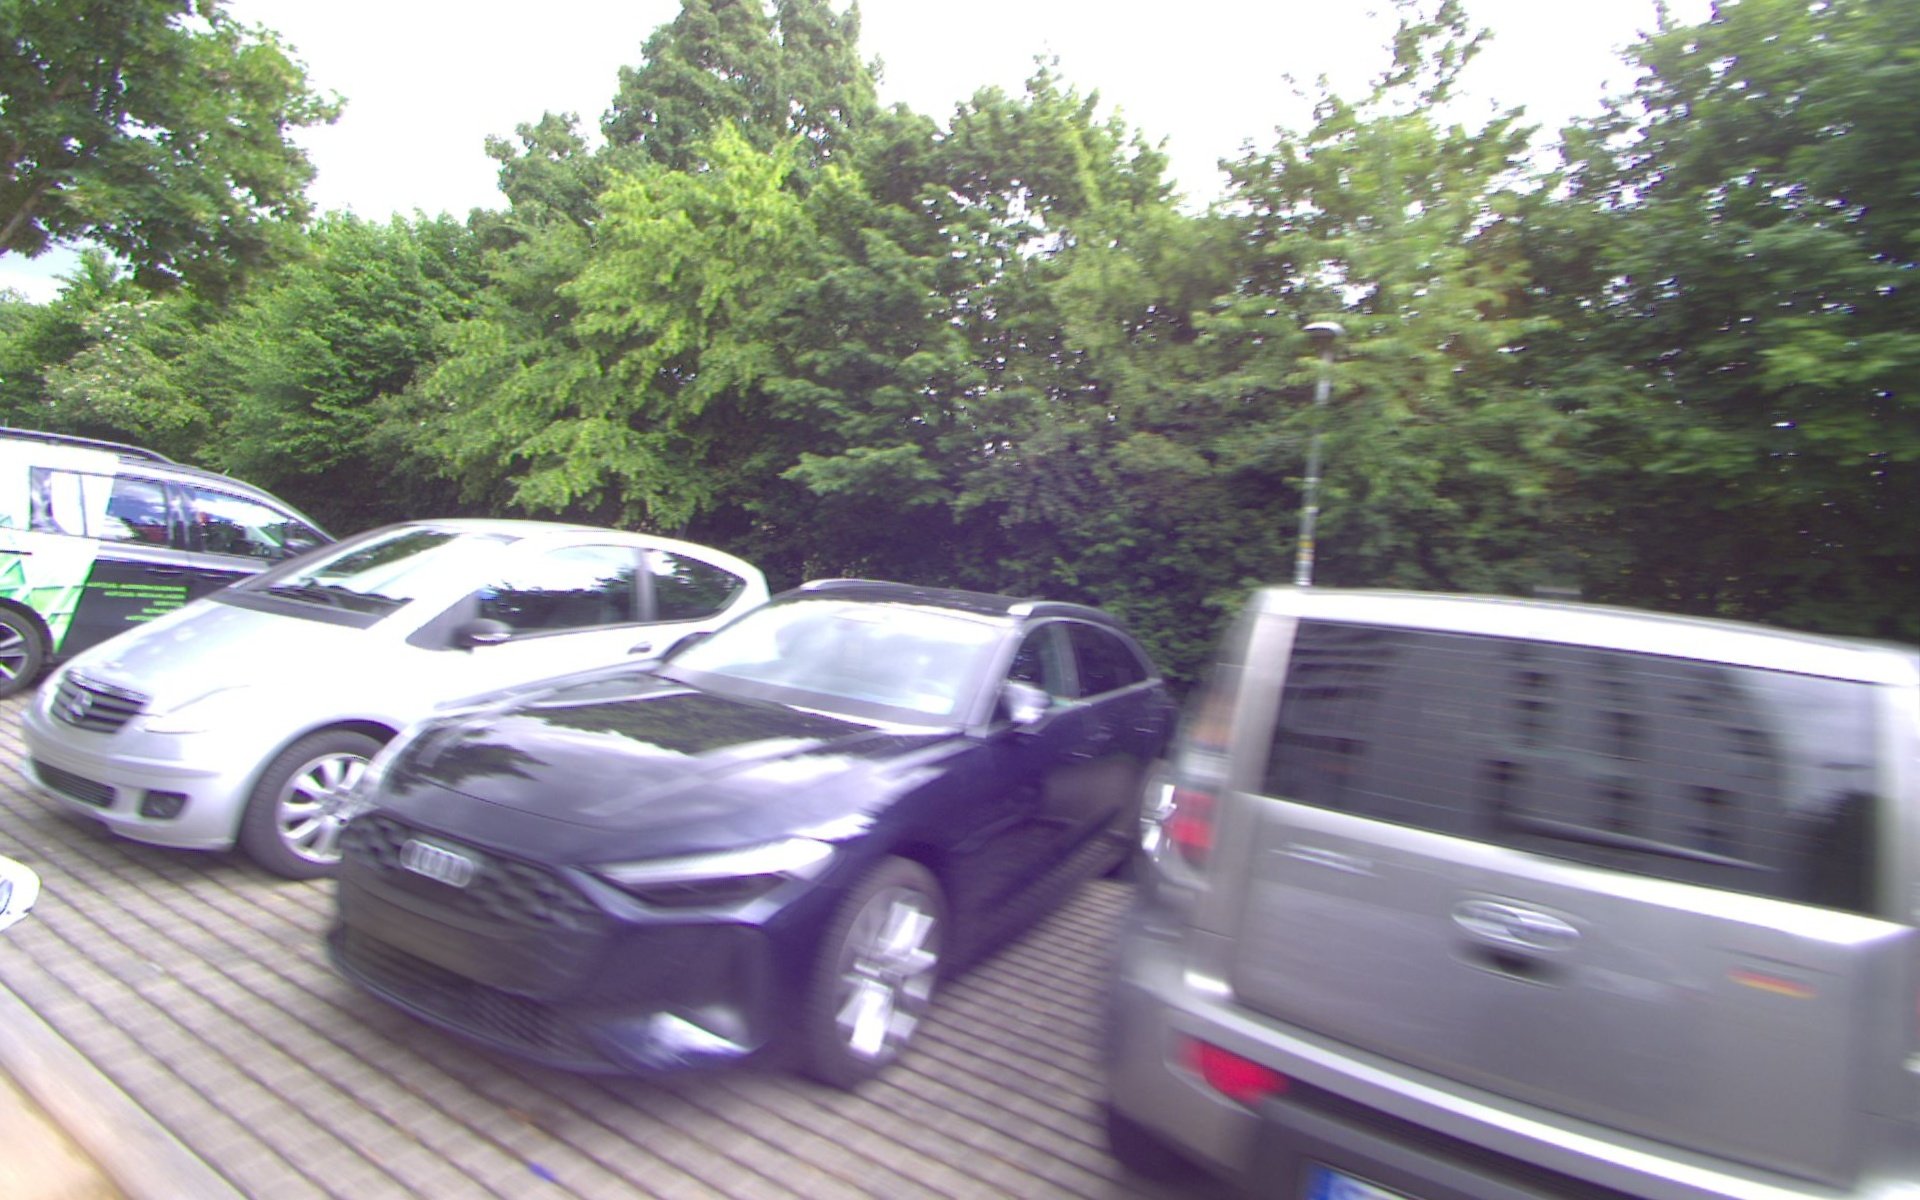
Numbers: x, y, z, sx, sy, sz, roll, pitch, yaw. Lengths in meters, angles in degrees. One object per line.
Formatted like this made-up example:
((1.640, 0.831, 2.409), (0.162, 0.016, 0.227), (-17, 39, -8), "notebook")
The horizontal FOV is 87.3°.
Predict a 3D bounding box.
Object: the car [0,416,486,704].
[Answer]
((-6.581, -0.314, 8.347), (1.884, 1.929, 4.382), (8, 2, 30), "car")

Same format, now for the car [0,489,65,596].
((-15.564, -1.085, 13.860), (1.884, 1.492, 4.387), (8, -1, 30), "car")

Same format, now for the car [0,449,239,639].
((-11.102, -0.752, 11.269), (1.903, 1.927, 4.387), (8, -1, 30), "car")

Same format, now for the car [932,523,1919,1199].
((1.812, 0.830, 3.483), (1.860, 1.630, 4.069), (8, 2, 30), "car")

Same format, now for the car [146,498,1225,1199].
((-0.410, 0.649, 4.651), (2.074, 1.518, 4.732), (8, 2, 27), "car")

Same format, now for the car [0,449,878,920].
((-2.567, 0.305, 5.872), (1.884, 1.597, 4.382), (8, 2, 30), "car")

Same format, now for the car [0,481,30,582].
((-17.542, -1.398, 15.416), (1.884, 1.637, 4.387), (8, -1, 30), "car")

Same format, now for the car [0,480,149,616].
((-13.193, -0.849, 12.498), (1.884, 1.592, 4.387), (7, -1, 30), "car")
